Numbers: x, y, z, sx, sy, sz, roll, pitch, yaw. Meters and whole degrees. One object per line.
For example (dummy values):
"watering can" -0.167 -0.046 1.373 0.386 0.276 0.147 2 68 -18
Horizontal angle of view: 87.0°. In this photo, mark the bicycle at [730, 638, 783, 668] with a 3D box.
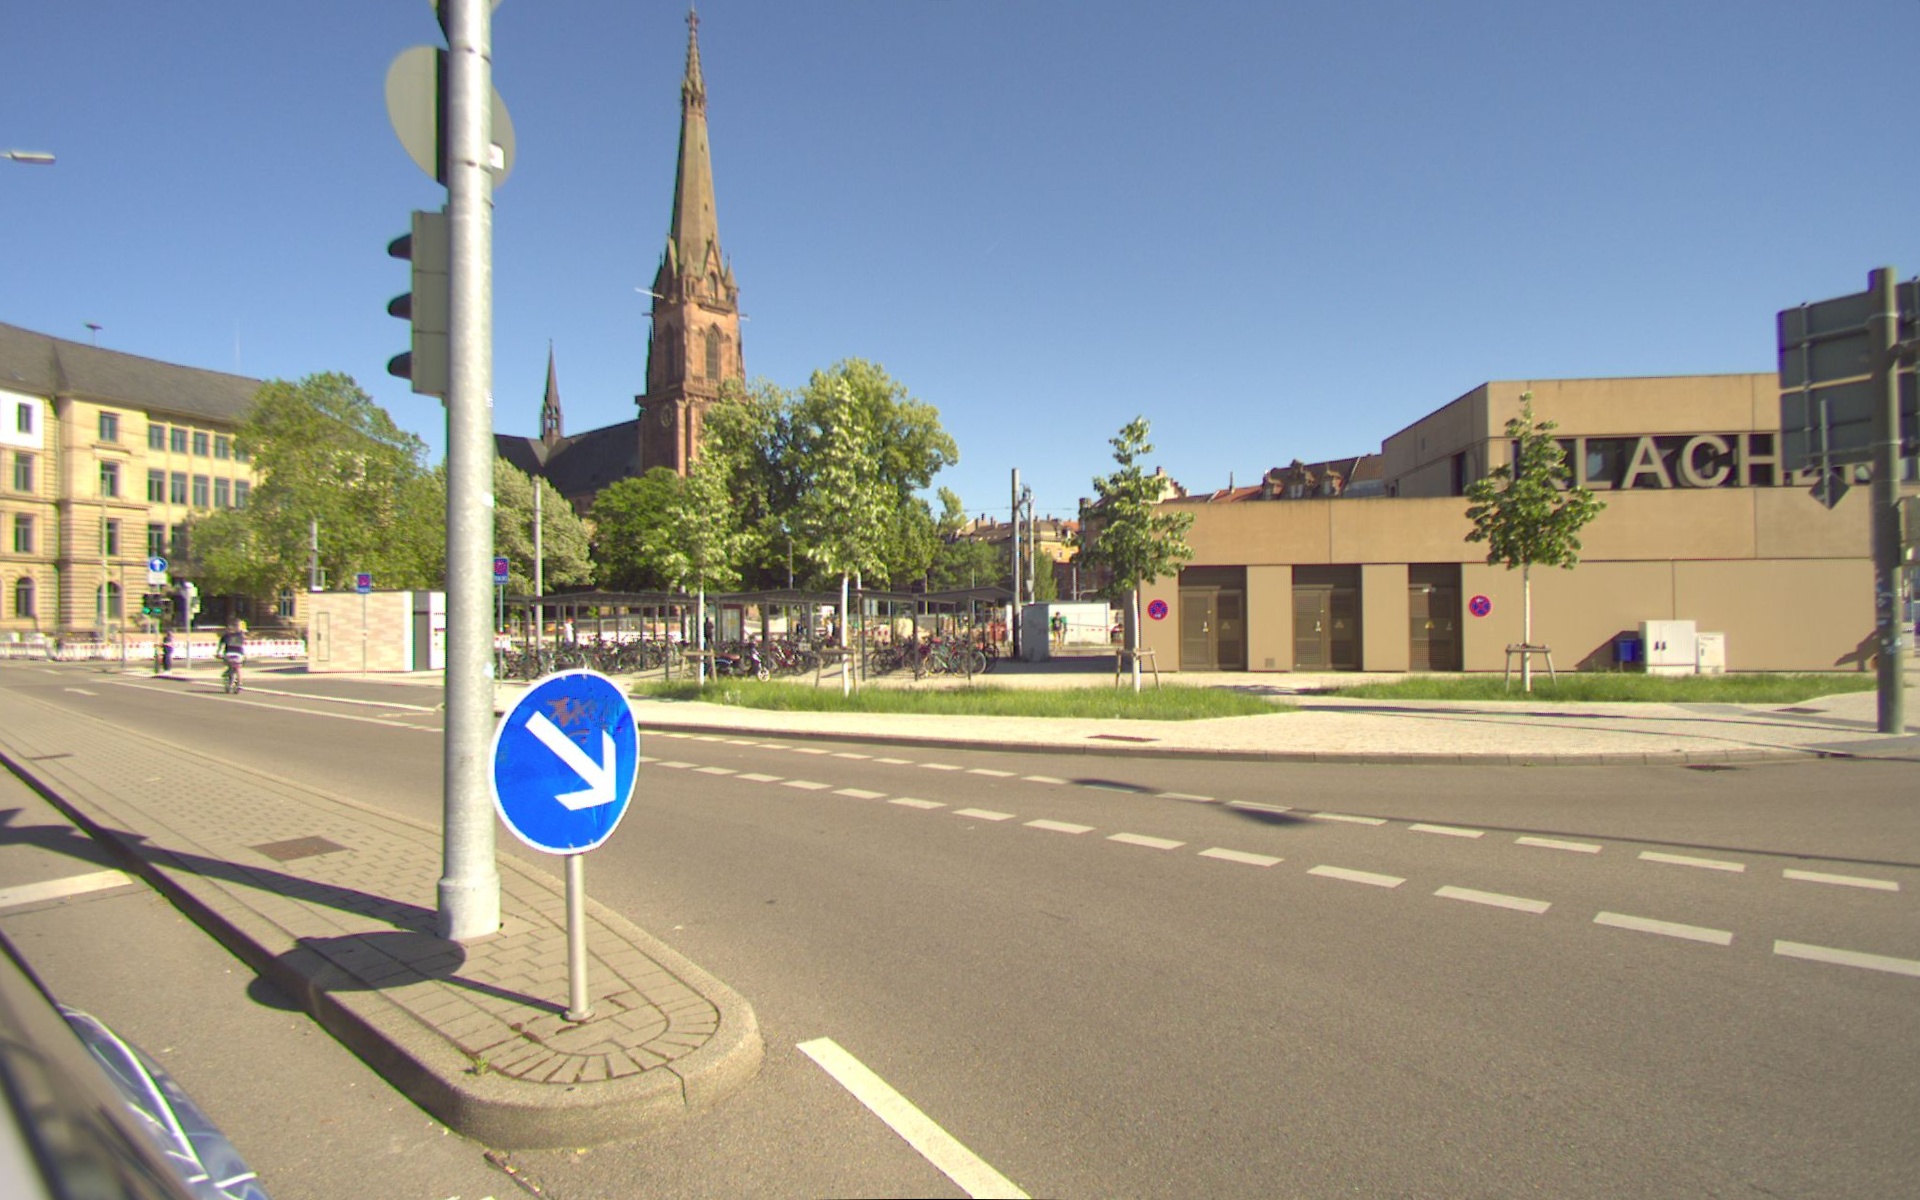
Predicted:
"bicycle" -7.257 1.891 36.077 1.765 1.046 0.567 0 -2 5

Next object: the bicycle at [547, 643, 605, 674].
"bicycle" -13.171 2.000 34.728 1.765 1.046 0.567 0 -2 5

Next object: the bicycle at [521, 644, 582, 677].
"bicycle" -13.256 1.960 32.832 1.765 1.046 0.567 0 -2 5

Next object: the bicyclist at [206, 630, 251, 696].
"bicyclist" -18.405 1.568 25.467 0.977 1.633 0.712 -2 -3 42

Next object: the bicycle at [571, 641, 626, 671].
"bicycle" -13.043 2.010 36.516 1.765 1.046 0.567 0 -2 5

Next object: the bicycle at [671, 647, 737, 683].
"bicycle" -7.461 1.895 29.531 1.765 1.046 0.567 0 -2 5

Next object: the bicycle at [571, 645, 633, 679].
"bicycle" -11.249 1.951 31.814 1.765 1.046 0.567 0 -2 5

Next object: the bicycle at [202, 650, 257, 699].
"bicycle" -18.365 1.855 25.430 1.870 1.174 0.738 -2 -3 42

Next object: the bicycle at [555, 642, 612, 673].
"bicycle" -13.140 2.003 35.323 1.765 1.046 0.567 0 -2 5

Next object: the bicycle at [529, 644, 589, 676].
"bicycle" -13.240 1.986 33.448 1.765 1.046 0.567 0 -2 5

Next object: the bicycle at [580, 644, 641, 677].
"bicycle" -11.191 1.938 32.413 1.765 1.046 0.567 0 -2 5

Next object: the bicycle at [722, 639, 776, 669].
"bicycle" -7.378 1.873 35.355 1.765 1.046 0.567 0 -2 5

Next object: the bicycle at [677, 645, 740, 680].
"bicycle" -7.628 1.878 30.717 1.765 1.046 0.567 0 -2 5

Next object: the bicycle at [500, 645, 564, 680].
"bicycle" -13.332 1.939 31.514 1.765 1.046 0.567 0 -2 5

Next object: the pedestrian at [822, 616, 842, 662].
"pedestrian" -4.881 1.492 38.601 0.673 1.736 0.617 -1 -1 3

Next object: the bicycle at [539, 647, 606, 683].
"bicycle" -11.439 1.902 29.919 1.765 1.046 0.567 0 -2 5

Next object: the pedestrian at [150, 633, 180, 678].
"pedestrian" -30.927 2.159 39.351 0.648 1.693 0.779 -2 0 43

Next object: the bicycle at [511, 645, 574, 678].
"bicycle" -13.284 1.944 32.201 1.765 1.046 0.567 0 -2 5

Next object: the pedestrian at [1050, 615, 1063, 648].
"pedestrian" 4.540 1.500 47.780 0.581 1.530 0.559 -1 -1 7

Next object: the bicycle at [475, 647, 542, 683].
"bicycle" -13.425 1.918 30.110 1.765 1.046 0.567 0 -2 5

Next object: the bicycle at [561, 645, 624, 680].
"bicycle" -11.322 1.918 31.207 1.765 1.046 0.567 0 -2 5

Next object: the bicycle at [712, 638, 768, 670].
"bicycle" -7.485 1.835 34.488 1.765 1.046 0.567 0 -2 5

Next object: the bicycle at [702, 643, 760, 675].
"bicycle" -7.528 1.932 33.291 1.765 1.046 0.567 0 -2 5

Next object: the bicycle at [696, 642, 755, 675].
"bicycle" -7.577 1.889 32.678 1.765 1.046 0.567 0 -2 5

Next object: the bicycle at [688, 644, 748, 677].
"bicycle" -7.640 1.911 32.005 1.765 1.046 0.567 0 -2 5

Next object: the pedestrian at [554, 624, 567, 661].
"pedestrian" -19.700 2.090 49.920 0.529 1.736 0.684 -2 -5 -18

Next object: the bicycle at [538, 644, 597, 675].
"bicycle" -13.202 1.993 34.063 1.765 1.046 0.567 0 -2 5

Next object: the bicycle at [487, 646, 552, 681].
"bicycle" -13.379 1.925 30.760 1.765 1.046 0.567 0 -2 5

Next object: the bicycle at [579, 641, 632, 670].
"bicycle" -13.006 2.015 37.117 1.765 1.046 0.567 0 -2 5

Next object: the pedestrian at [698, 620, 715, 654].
"pedestrian" -12.965 1.889 51.784 0.518 1.667 0.559 -2 0 42

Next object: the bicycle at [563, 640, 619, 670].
"bicycle" -13.098 1.957 35.927 1.765 1.046 0.567 0 -2 5
